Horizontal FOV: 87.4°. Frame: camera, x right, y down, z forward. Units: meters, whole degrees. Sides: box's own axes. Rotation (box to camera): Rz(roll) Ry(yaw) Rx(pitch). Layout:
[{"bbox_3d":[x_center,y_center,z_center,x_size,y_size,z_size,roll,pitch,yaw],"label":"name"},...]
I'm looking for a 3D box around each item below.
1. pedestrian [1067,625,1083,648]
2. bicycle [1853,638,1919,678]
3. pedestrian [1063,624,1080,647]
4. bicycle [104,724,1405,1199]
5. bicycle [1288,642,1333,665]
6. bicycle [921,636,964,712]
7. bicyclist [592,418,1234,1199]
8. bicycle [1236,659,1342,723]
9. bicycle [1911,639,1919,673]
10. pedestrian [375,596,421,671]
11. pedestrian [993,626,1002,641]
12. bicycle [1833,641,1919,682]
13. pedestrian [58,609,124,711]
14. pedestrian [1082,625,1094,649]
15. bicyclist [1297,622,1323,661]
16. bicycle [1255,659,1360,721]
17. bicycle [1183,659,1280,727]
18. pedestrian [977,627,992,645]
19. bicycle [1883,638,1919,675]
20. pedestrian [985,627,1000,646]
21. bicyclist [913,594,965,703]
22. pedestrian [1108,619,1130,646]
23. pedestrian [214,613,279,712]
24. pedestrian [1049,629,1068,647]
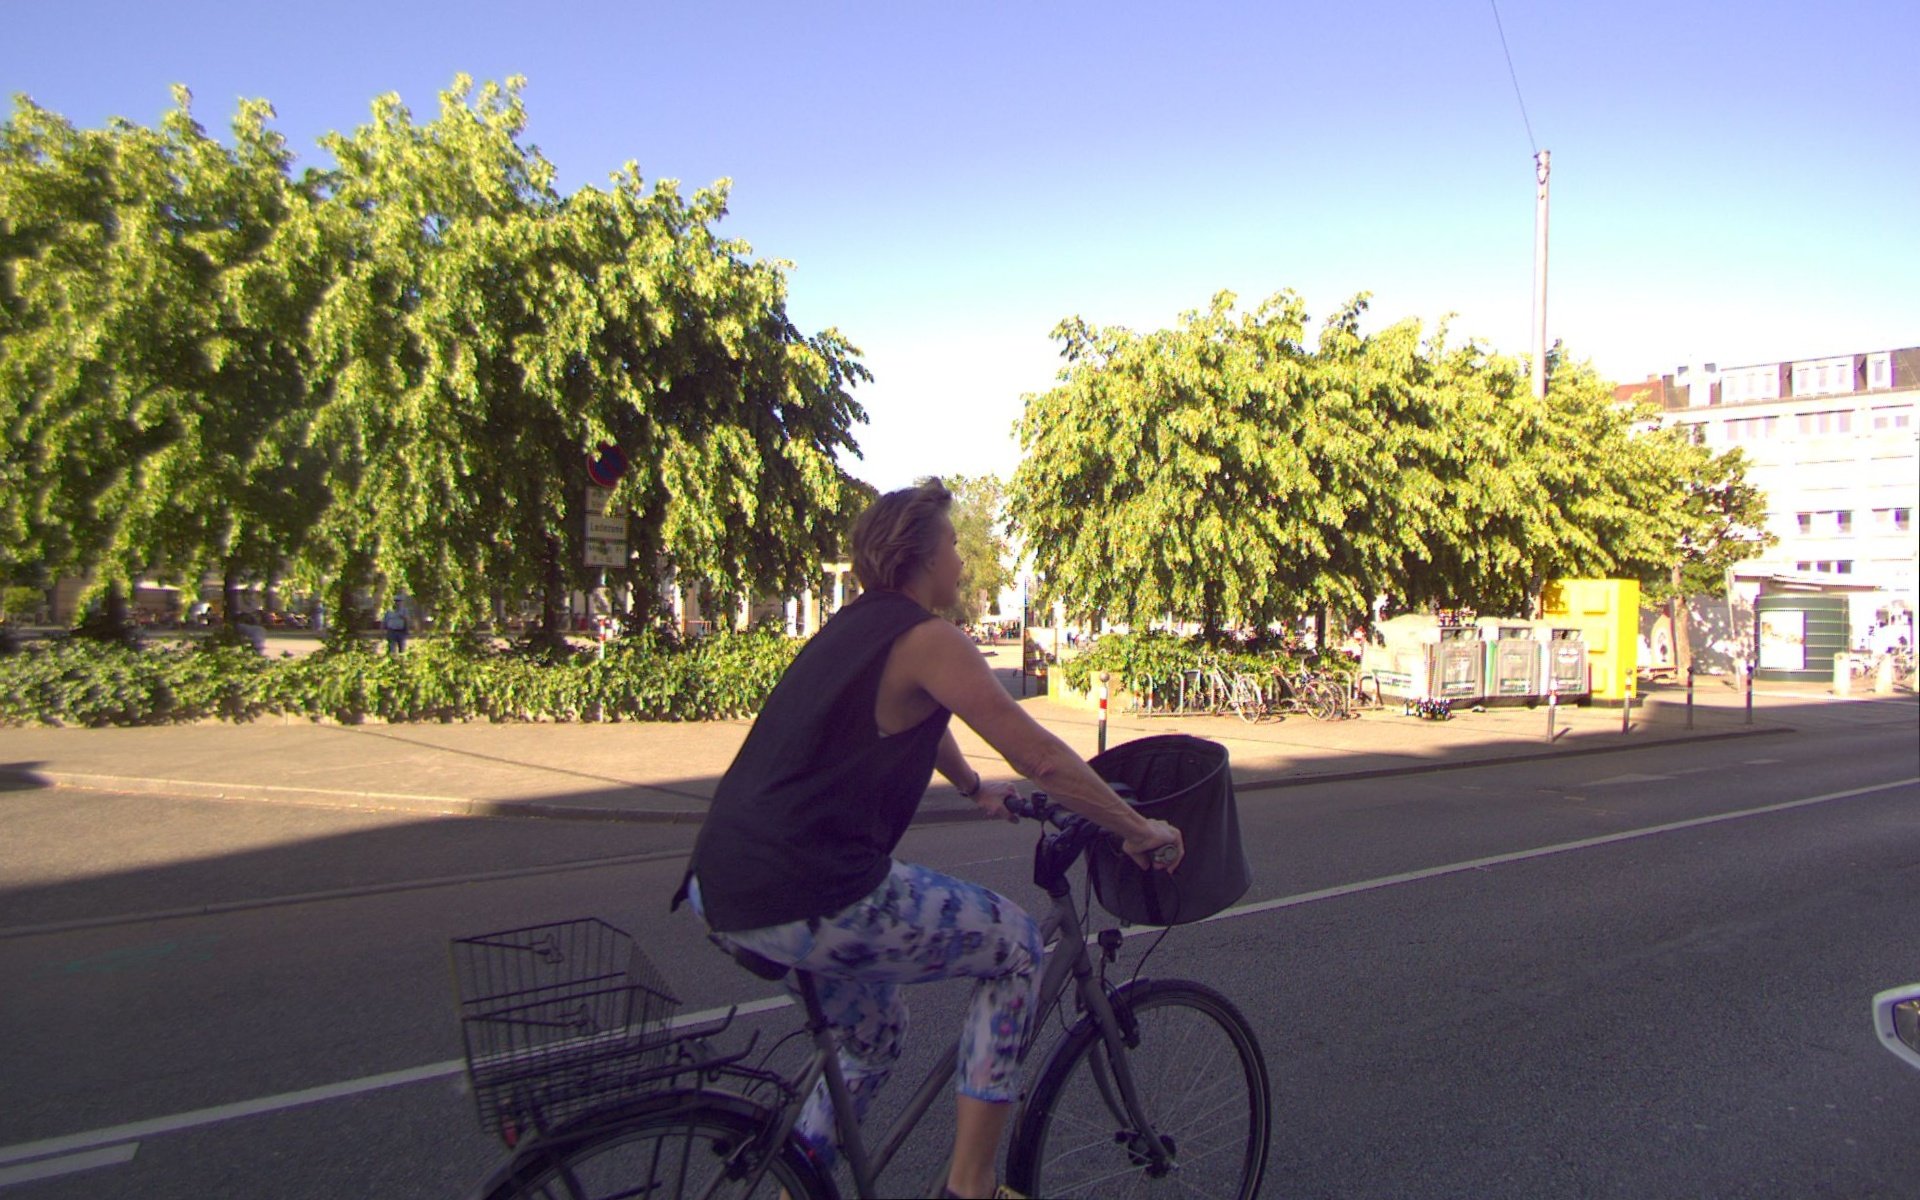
[{"bbox_3d":[7.822,2.488,68.269,0.904,1.541,0.936,2,0,15],"label":"pedestrian"},{"bbox_3d":[33.137,2.040,35.062,0.923,1.291,2.764,2,0,-32],"label":"bicycle"},{"bbox_3d":[8.003,2.550,72.207,1.003,1.541,1.036,2,0,15],"label":"pedestrian"},{"bbox_3d":[-0.152,0.906,1.767,1.976,1.239,0.625,2,0,-29],"label":"bicycle"},{"bbox_3d":[12.768,1.951,36.666,0.571,0.834,1.853,1,-3,-17],"label":"bicycle"},{"bbox_3d":[-0.281,1.209,16.895,0.593,1.116,1.990,2,0,2],"label":"bicycle"},{"bbox_3d":[-0.097,0.528,1.789,0.946,1.504,0.603,2,0,-29],"label":"bicyclist"},{"bbox_3d":[5.267,1.443,16.182,0.465,0.870,1.659,2,0,-35],"label":"bicycle"},{"bbox_3d":[37.239,2.156,37.272,0.932,1.276,2.648,2,0,-32],"label":"bicycle"},{"bbox_3d":[-11.915,0.708,21.297,0.688,1.541,0.676,2,0,-41],"label":"pedestrian"},{"bbox_3d":[3.882,3.513,104.469,0.744,1.557,0.673,2,0,-12],"label":"pedestrian"},{"bbox_3d":[31.214,2.064,33.759,0.932,1.211,2.645,2,0,-32],"label":"bicycle"},{"bbox_3d":[-12.866,0.871,14.882,0.615,1.456,0.647,2,0,-32],"label":"pedestrian"},{"bbox_3d":[8.673,2.514,68.285,0.761,1.541,0.838,2,0,6],"label":"pedestrian"},{"bbox_3d":[12.783,1.523,36.679,0.566,1.399,0.706,2,-3,-17],"label":"bicyclist"},{"bbox_3d":[5.666,1.454,16.477,0.465,0.870,1.654,2,0,-35],"label":"bicycle"},{"bbox_3d":[4.167,1.411,15.524,0.464,0.897,1.558,2,0,-29],"label":"bicycle"},{"bbox_3d":[2.139,3.081,86.979,0.867,1.497,0.940,2,0,42],"label":"pedestrian"},{"bbox_3d":[35.255,2.084,36.128,0.932,1.287,2.859,2,0,-32],"label":"bicycle"},{"bbox_3d":[2.783,3.092,85.949,0.867,1.557,0.894,2,0,33],"label":"pedestrian"},{"bbox_3d":[-0.337,0.784,16.638,0.773,1.722,0.896,2,0,2],"label":"bicyclist"},{"bbox_3d":[11.379,2.301,71.898,1.276,1.867,1.101,2,0,-6],"label":"pedestrian"},{"bbox_3d":[-10.858,0.934,15.299,0.581,1.456,0.615,2,0,33],"label":"pedestrian"},{"bbox_3d":[6.790,2.615,69.316,0.858,1.230,0.892,2,0,-35],"label":"pedestrian"}]
